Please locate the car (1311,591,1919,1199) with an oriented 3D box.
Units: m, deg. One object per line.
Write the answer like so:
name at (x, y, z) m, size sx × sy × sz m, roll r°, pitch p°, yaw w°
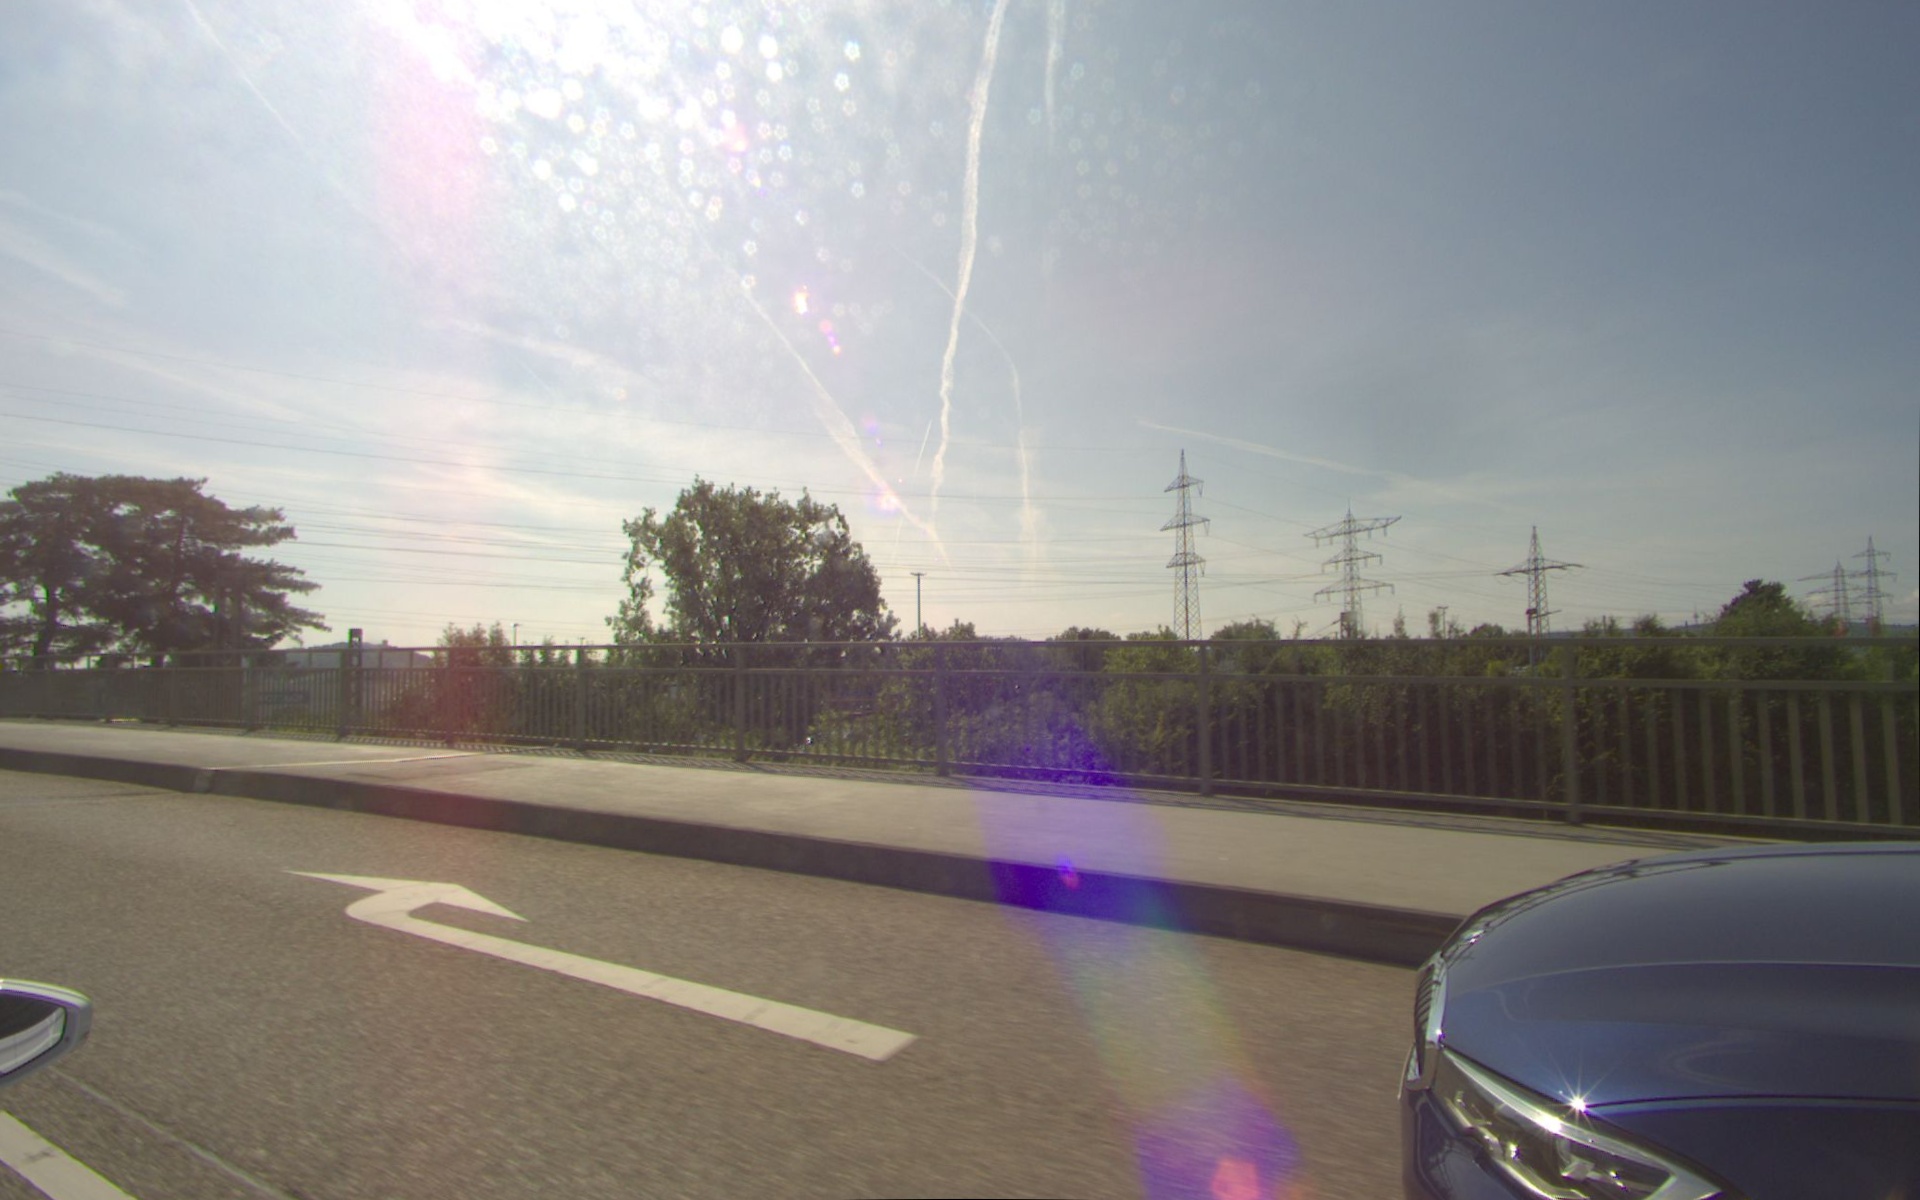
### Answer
car at (2.892, 0.703, 1.036) m, size 4.458 × 1.501 × 1.785 m, roll -4°, pitch -6°, yaw 33°
